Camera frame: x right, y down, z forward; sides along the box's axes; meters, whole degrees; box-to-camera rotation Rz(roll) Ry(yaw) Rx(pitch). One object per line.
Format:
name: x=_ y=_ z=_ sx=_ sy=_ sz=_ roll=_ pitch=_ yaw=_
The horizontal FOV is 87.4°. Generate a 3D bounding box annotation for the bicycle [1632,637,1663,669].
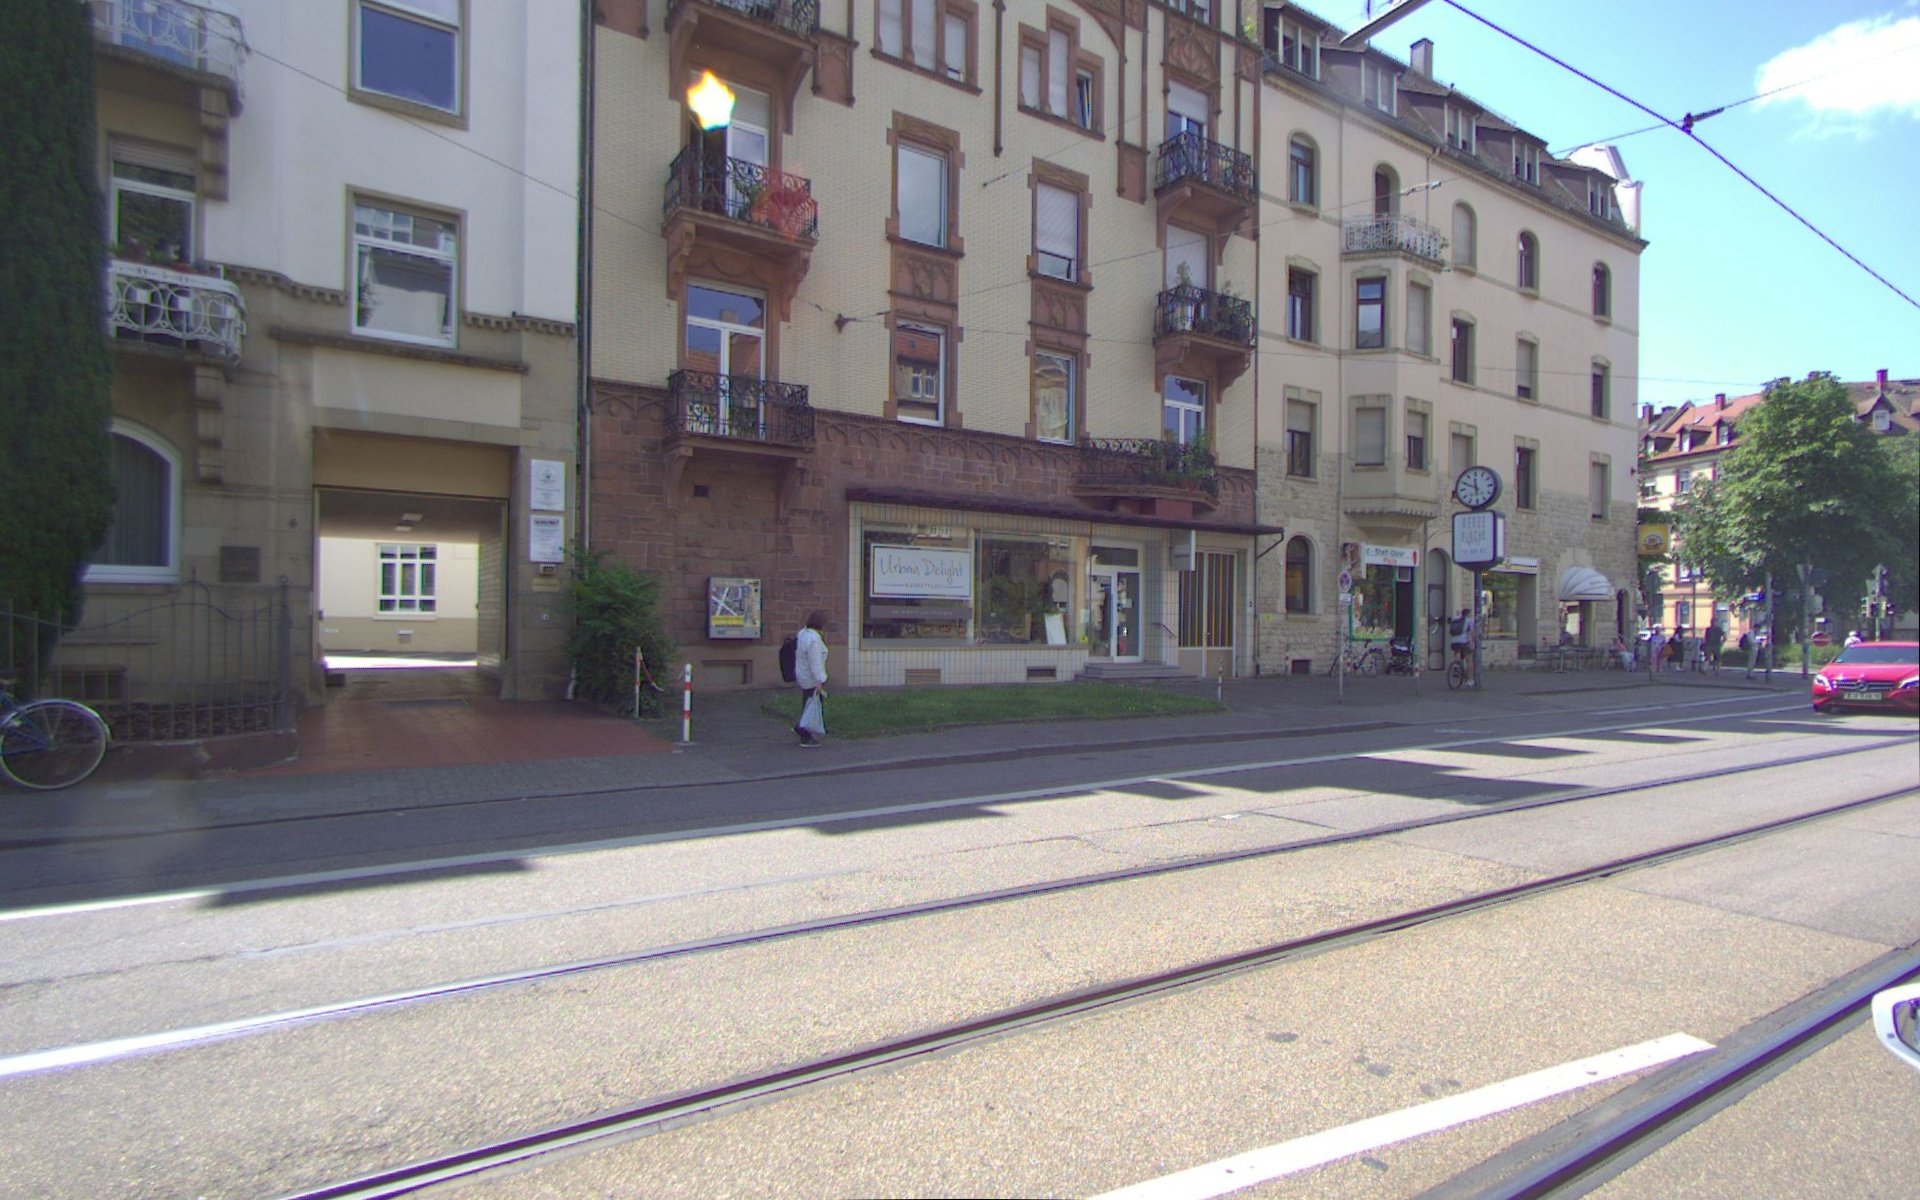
bicycle: x=25.283 y=1.960 z=36.940 sx=0.534 sy=1.143 sz=1.683 roll=1 pitch=-3 yaw=20

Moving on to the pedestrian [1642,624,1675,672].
pedestrian: x=24.124 y=1.636 z=34.707 sx=0.794 sy=1.616 sz=0.919 roll=0 pitch=-1 yaw=24

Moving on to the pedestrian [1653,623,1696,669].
pedestrian: x=26.340 y=1.702 z=37.031 sx=0.852 sy=1.657 sz=1.019 roll=1 pitch=-1 yaw=-27

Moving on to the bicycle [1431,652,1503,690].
bicycle: x=11.881 y=1.652 z=23.545 sx=1.802 sy=0.828 sz=0.747 roll=1 pitch=-1 yaw=-35

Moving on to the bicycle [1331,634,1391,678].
bicycle: x=10.477 y=1.463 z=26.242 sx=1.438 sy=1.080 sz=0.370 roll=2 pitch=0 yaw=-10

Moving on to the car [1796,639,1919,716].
car: x=18.994 y=1.517 z=20.627 sx=4.387 sy=1.432 sz=1.810 roll=2 pitch=-3 yaw=-37

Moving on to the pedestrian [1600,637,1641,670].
pedestrian: x=22.673 y=1.818 z=34.495 sx=0.873 sy=1.092 sz=0.911 roll=1 pitch=-1 yaw=-32

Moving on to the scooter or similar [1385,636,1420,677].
scooter or similar: x=12.135 y=1.532 z=27.566 sx=0.682 sy=1.058 sz=1.210 roll=2 pitch=0 yaw=17

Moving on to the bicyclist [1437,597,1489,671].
bicyclist: x=11.761 y=0.791 z=23.500 sx=0.822 sy=1.685 sz=0.751 roll=2 pitch=0 yaw=-34

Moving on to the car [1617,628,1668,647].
car: x=56.940 y=3.141 z=83.883 sx=1.654 sy=1.491 sz=3.467 roll=1 pitch=-1 yaw=-8

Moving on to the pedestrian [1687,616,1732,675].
pedestrian: x=25.161 y=1.520 z=33.737 sx=1.152 sy=1.916 sz=0.895 roll=1 pitch=-1 yaw=-34

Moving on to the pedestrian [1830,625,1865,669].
pedestrian: x=36.145 y=1.911 z=40.910 sx=0.831 sy=1.746 sz=0.911 roll=1 pitch=-1 yaw=-33

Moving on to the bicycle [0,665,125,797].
bicycle: x=-7.676 y=1.010 z=7.761 sx=1.822 sy=0.973 sz=0.408 roll=3 pitch=1 yaw=-34

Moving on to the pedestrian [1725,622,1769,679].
pedestrian: x=25.176 y=1.602 z=32.127 sx=0.766 sy=1.756 sz=0.855 roll=1 pitch=0 yaw=-31

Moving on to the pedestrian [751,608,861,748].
pedestrian: x=-1.819 y=0.881 z=11.809 sx=0.975 sy=1.563 sz=0.894 roll=1 pitch=-1 yaw=-36
